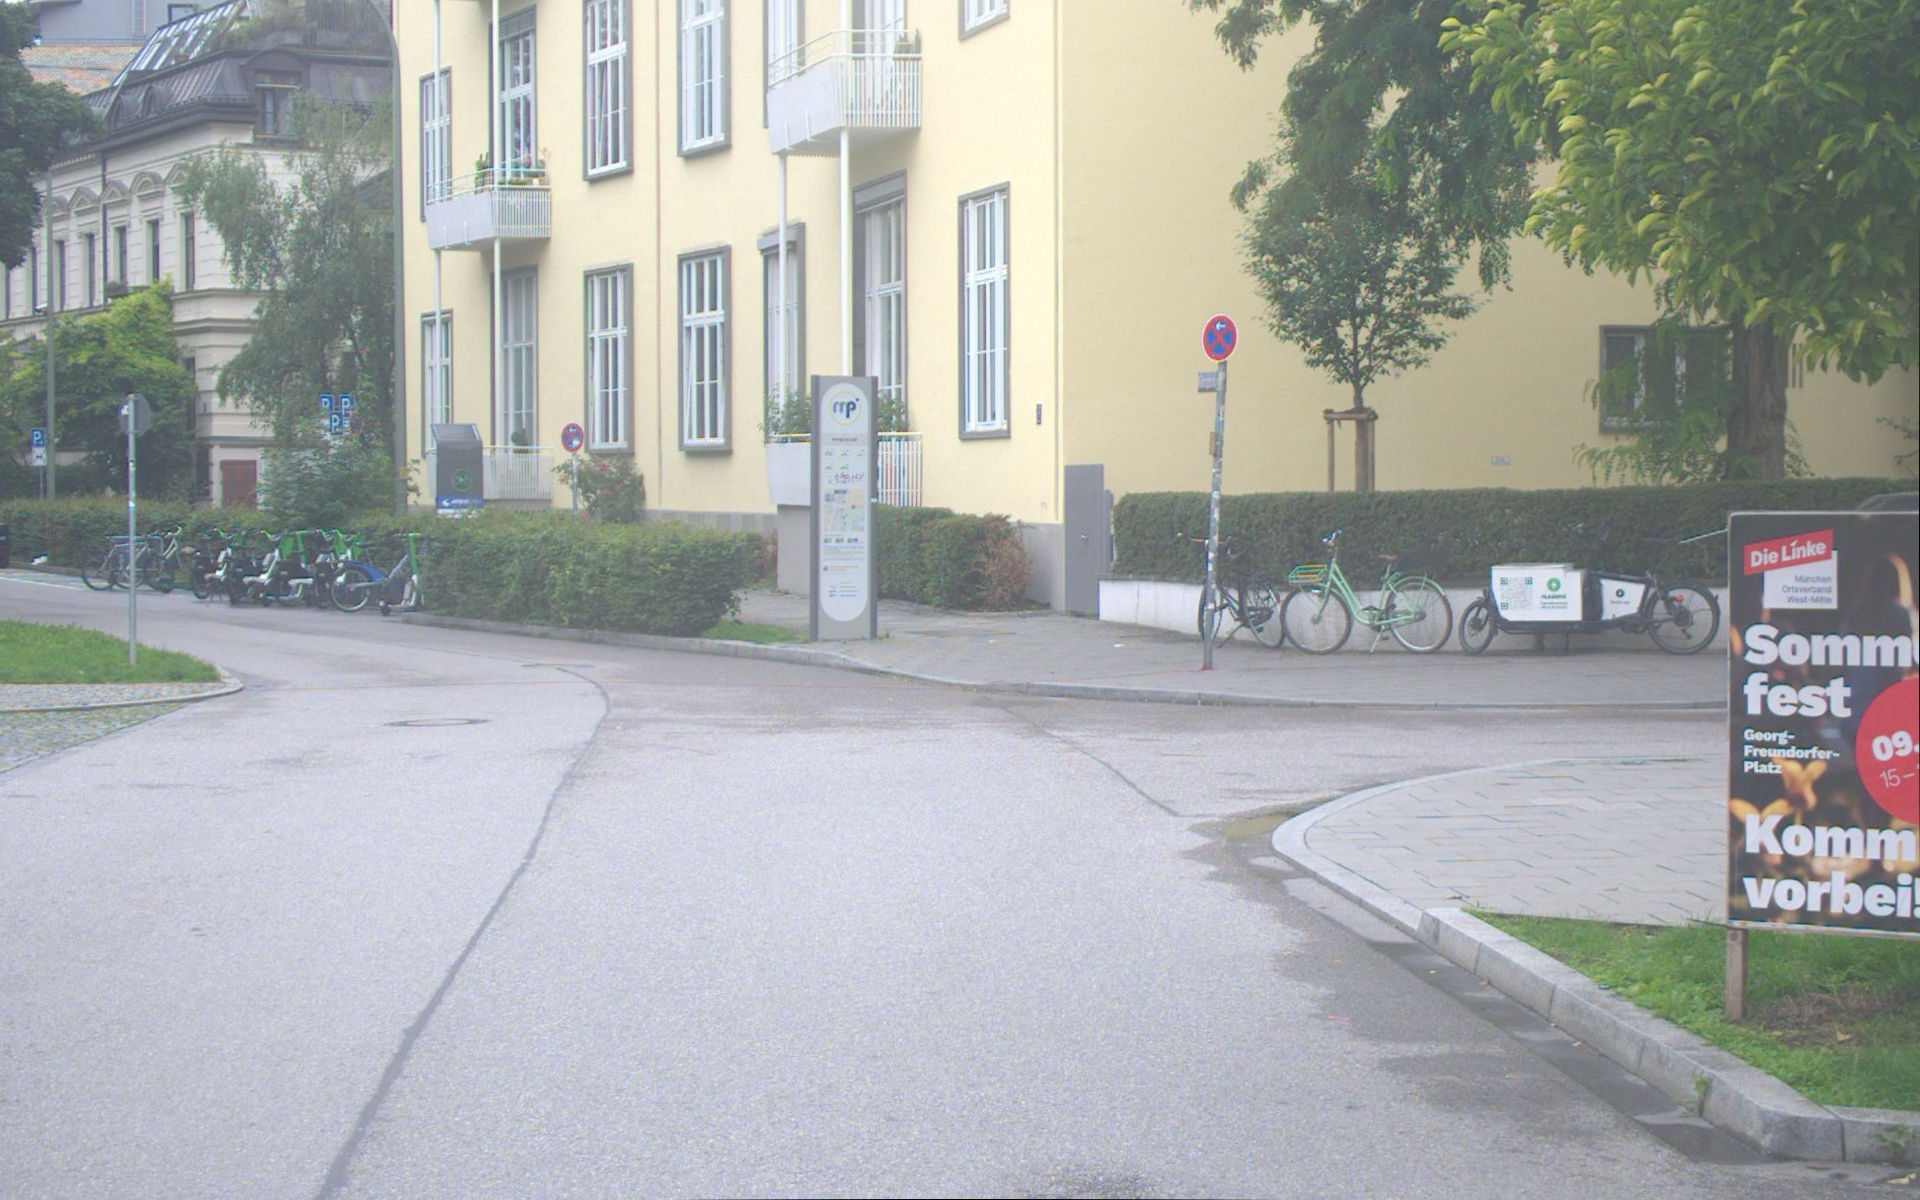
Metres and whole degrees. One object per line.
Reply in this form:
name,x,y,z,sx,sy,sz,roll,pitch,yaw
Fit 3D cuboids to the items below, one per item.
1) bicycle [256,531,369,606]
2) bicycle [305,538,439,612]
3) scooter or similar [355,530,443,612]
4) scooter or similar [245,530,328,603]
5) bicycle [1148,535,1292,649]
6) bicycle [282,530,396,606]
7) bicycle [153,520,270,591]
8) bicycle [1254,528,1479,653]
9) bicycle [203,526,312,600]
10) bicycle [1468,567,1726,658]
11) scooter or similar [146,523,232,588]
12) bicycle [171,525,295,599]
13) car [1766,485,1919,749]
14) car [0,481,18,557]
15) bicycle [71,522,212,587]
bicycle,-9.942,-0.494,52.849,0.576,1.082,1.930,0,2,30
bicycle,-8.565,-0.369,50.099,1.823,1.002,0.577,-2,2,-29
scooter or similar,-7.958,-0.417,48.810,0.496,1.105,1.408,0,2,26
scooter or similar,-10.417,-0.528,53.203,0.496,1.084,1.408,0,2,26
bicycle,2.580,-0.097,34.357,0.608,1.069,2.218,-2,2,-18
bicycle,-9.436,-0.497,52.290,0.576,1.082,1.930,0,2,30
bicycle,-12.185,-0.737,56.029,0.763,1.082,2.139,0,2,23
bicycle,3.778,-0.108,32.126,0.608,1.113,2.216,-2,2,-43
bicycle,-10.931,-0.588,53.541,0.638,1.082,1.983,0,2,23
bicycle,5.700,0.101,30.773,2.212,0.776,0.610,0,2,19
scooter or similar,-13.468,-0.784,60.079,1.405,1.084,0.597,-1,2,-9
bicycle,-11.459,-0.605,54.266,0.696,1.082,2.336,0,2,23
car,8.013,0.027,23.671,4.365,1.688,2.002,-2,2,-4
car,-21.919,-1.783,75.180,1.863,1.628,4.284,-1,2,-24
bicycle,-14.690,-0.822,61.748,2.331,1.082,0.693,-2,2,-32
